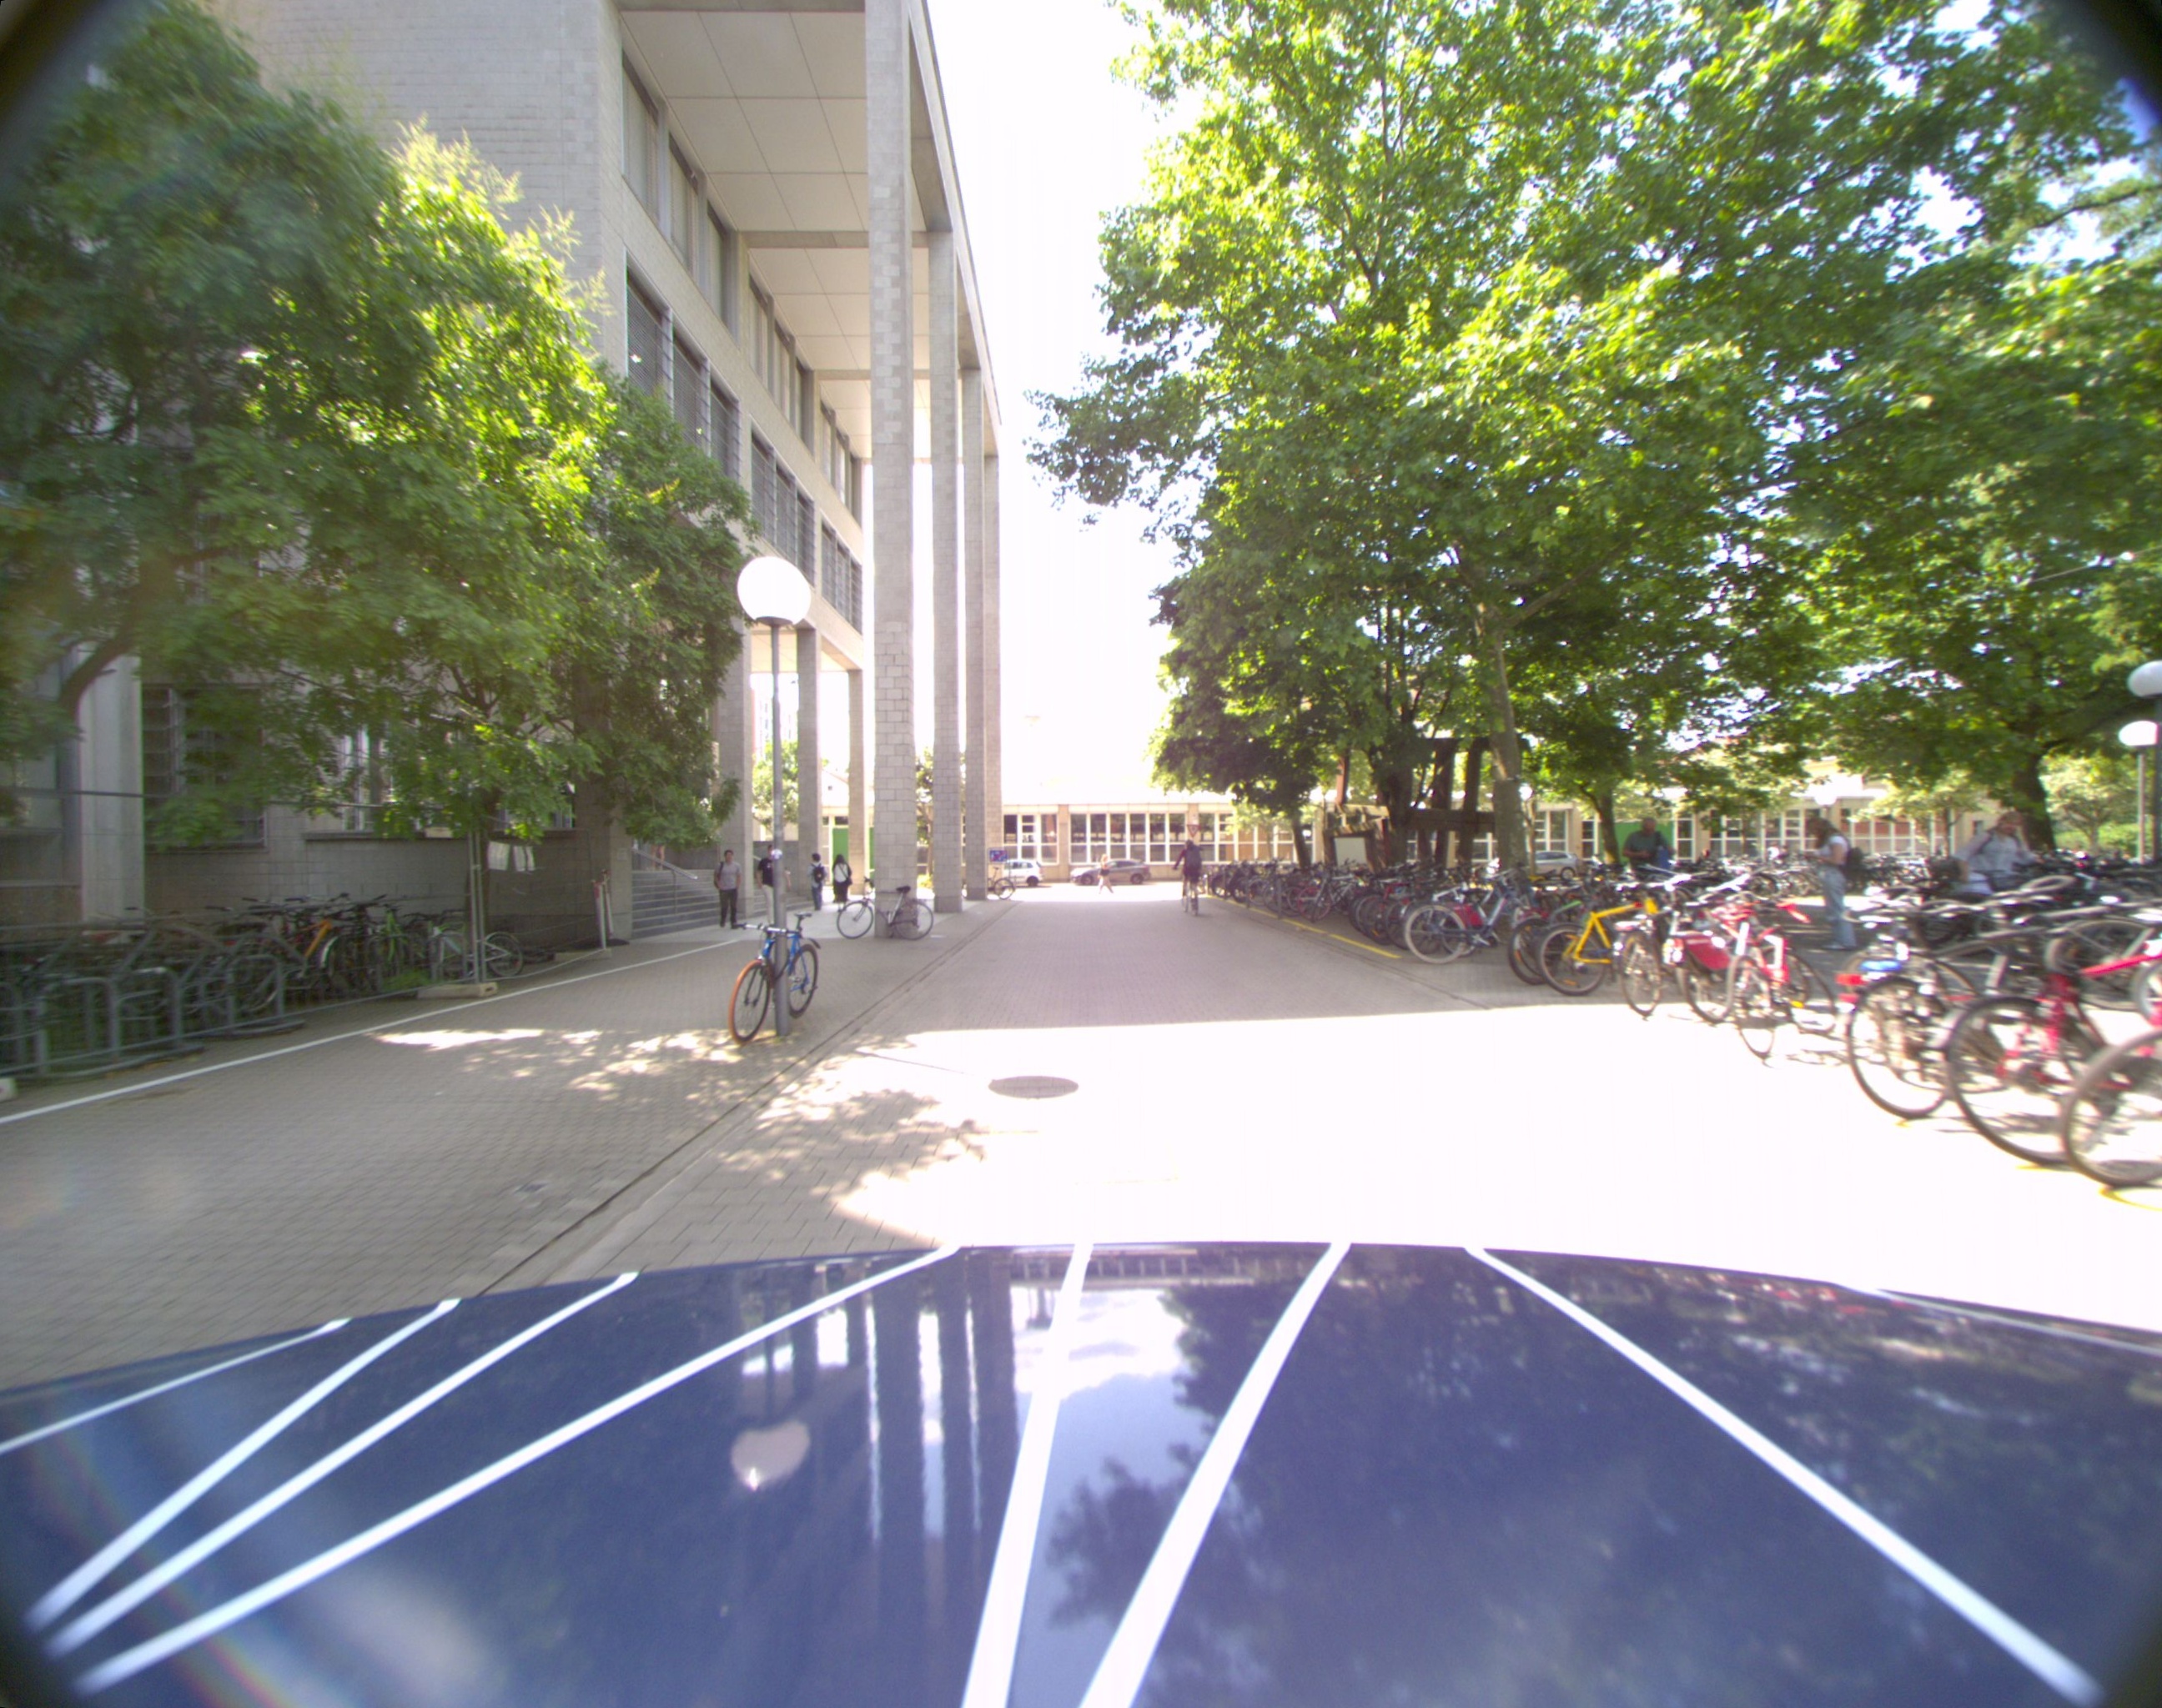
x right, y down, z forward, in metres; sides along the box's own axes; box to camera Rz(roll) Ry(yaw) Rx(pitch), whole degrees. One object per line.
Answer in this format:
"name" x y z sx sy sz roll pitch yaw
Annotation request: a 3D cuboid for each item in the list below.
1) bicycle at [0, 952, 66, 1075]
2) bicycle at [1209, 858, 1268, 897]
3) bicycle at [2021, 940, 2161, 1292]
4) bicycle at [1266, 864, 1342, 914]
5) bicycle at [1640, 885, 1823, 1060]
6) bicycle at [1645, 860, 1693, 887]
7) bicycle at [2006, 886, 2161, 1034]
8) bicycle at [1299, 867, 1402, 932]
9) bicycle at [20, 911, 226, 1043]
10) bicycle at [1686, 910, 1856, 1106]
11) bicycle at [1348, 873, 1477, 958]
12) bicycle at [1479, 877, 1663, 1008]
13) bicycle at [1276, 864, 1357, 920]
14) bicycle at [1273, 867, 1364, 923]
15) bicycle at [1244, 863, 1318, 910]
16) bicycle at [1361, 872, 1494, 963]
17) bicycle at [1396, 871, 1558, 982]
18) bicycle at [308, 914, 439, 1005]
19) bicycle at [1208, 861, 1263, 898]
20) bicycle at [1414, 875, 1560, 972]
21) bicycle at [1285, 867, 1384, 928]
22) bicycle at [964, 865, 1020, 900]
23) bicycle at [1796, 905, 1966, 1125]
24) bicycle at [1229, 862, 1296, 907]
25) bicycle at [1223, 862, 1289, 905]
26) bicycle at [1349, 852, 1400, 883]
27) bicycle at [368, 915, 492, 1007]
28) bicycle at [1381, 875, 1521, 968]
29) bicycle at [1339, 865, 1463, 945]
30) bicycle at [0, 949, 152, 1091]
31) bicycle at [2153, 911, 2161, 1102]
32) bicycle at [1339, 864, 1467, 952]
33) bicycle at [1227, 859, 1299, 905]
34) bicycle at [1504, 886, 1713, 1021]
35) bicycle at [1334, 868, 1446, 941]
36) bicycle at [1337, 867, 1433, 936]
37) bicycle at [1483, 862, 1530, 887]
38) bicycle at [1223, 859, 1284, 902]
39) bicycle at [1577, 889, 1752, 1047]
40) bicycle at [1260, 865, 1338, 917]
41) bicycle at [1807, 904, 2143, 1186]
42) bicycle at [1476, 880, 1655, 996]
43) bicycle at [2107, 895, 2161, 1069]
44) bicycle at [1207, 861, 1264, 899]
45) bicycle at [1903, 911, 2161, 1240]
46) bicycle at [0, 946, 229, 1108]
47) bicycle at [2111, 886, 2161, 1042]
"bicycle" -8.475 1.257 5.520 0.291 0.900 1.447 -1 0 -3
"bicycle" 4.702 0.691 22.690 1.628 1.102 0.691 -2 1 5
"bicycle" 4.635 0.908 2.657 1.778 1.162 0.474 -2 1 13
"bicycle" 5.130 0.808 17.545 1.627 1.102 0.563 -2 1 14
"bicycle" 5.165 0.868 6.007 1.702 1.151 0.473 -2 1 -27
"bicycle" 27.884 0.915 36.054 1.886 1.134 0.674 -4 3 -9
"bicycle" 8.393 0.796 5.752 1.695 1.077 0.475 -1 1 31
"bicycle" 5.040 0.833 14.252 1.740 1.120 0.497 -2 1 -5
"bicycle" -9.631 1.188 7.721 0.291 1.092 1.447 -1 0 -3
"bicycle" 4.718 0.960 5.157 1.702 1.013 0.473 -2 1 -35
"bicycle" 4.800 0.870 11.017 1.700 1.102 0.496 -2 1 -10
"bicycle" 4.945 0.862 7.679 1.700 1.181 0.473 -2 1 -11
"bicycle" 5.060 0.817 16.398 1.627 1.137 0.497 -2 1 14
"bicycle" 4.919 0.840 15.745 1.737 1.102 0.575 -2 1 19
"bicycle" 4.981 0.813 19.050 1.724 1.102 0.719 -2 1 11
"bicycle" 4.781 0.853 10.492 1.700 1.139 0.473 -2 1 -12
"bicycle" 4.703 0.837 9.062 1.699 1.192 0.536 -2 1 -8
"bicycle" -8.592 1.249 9.296 0.291 0.900 1.447 -1 0 -3
"bicycle" 4.863 0.800 23.961 1.628 1.102 0.506 -2 1 5
"bicycle" 5.153 0.857 9.661 1.700 1.102 0.473 -2 1 -11
"bicycle" 4.953 0.844 14.873 1.739 1.102 0.497 -2 1 0
"bicycle" -3.009 0.968 25.824 1.886 1.157 0.605 1 0 -5
"bicycle" 5.090 0.920 4.804 1.702 1.056 0.473 -2 1 -35
"bicycle" 4.776 0.803 20.010 1.629 1.102 0.497 -2 1 -5
"bicycle" 4.856 0.804 21.140 1.629 1.102 0.644 -2 1 -5
"bicycle" 11.275 0.525 29.201 1.839 1.102 0.393 -2 1 -6
"bicycle" -7.778 1.243 9.144 0.291 0.900 1.447 -1 0 -3
"bicycle" 4.883 0.868 10.034 1.700 1.102 0.473 -2 1 -12
"bicycle" 5.063 0.802 12.056 1.739 1.172 0.497 -2 1 -1
"bicycle" -7.874 1.245 5.612 0.291 0.900 1.447 -1 0 -3
"bicycle" 6.885 0.844 3.906 1.696 1.077 0.474 -2 1 13
"bicycle" 4.866 0.796 11.495 1.740 1.228 0.496 -2 1 -7
"bicycle" 4.902 0.750 20.504 1.784 1.155 0.497 -2 1 -5
"bicycle" 4.954 0.899 7.152 1.700 1.102 0.582 -2 1 -11
"bicycle" 5.188 0.828 12.747 1.741 1.102 0.496 -2 1 -12
"bicycle" 5.443 0.829 13.601 1.742 1.102 0.496 -2 1 -24
"bicycle" 20.004 0.949 35.754 1.829 1.102 0.605 -1 2 2
"bicycle" 4.957 0.755 21.908 1.628 1.144 0.497 -2 1 0
"bicycle" 4.952 0.903 6.420 1.702 1.102 0.473 -2 1 -27
"bicycle" 4.854 0.822 17.009 1.627 1.102 0.497 -2 1 14
"bicycle" 4.607 0.896 3.909 1.700 1.162 0.473 -2 1 -17
"bicycle" 5.236 0.881 8.232 1.700 1.102 0.565 -2 1 -11
"bicycle" 7.648 0.806 4.568 1.695 1.077 0.475 -1 1 35
"bicycle" 4.747 0.803 23.414 1.628 1.102 0.497 -2 1 5
"bicycle" 4.578 0.894 3.367 1.700 1.162 0.473 -2 1 -12
"bicycle" -7.337 1.233 5.705 0.291 0.900 1.447 -1 0 -3
"bicycle" 8.444 0.769 5.139 1.695 1.077 0.475 -1 1 31
